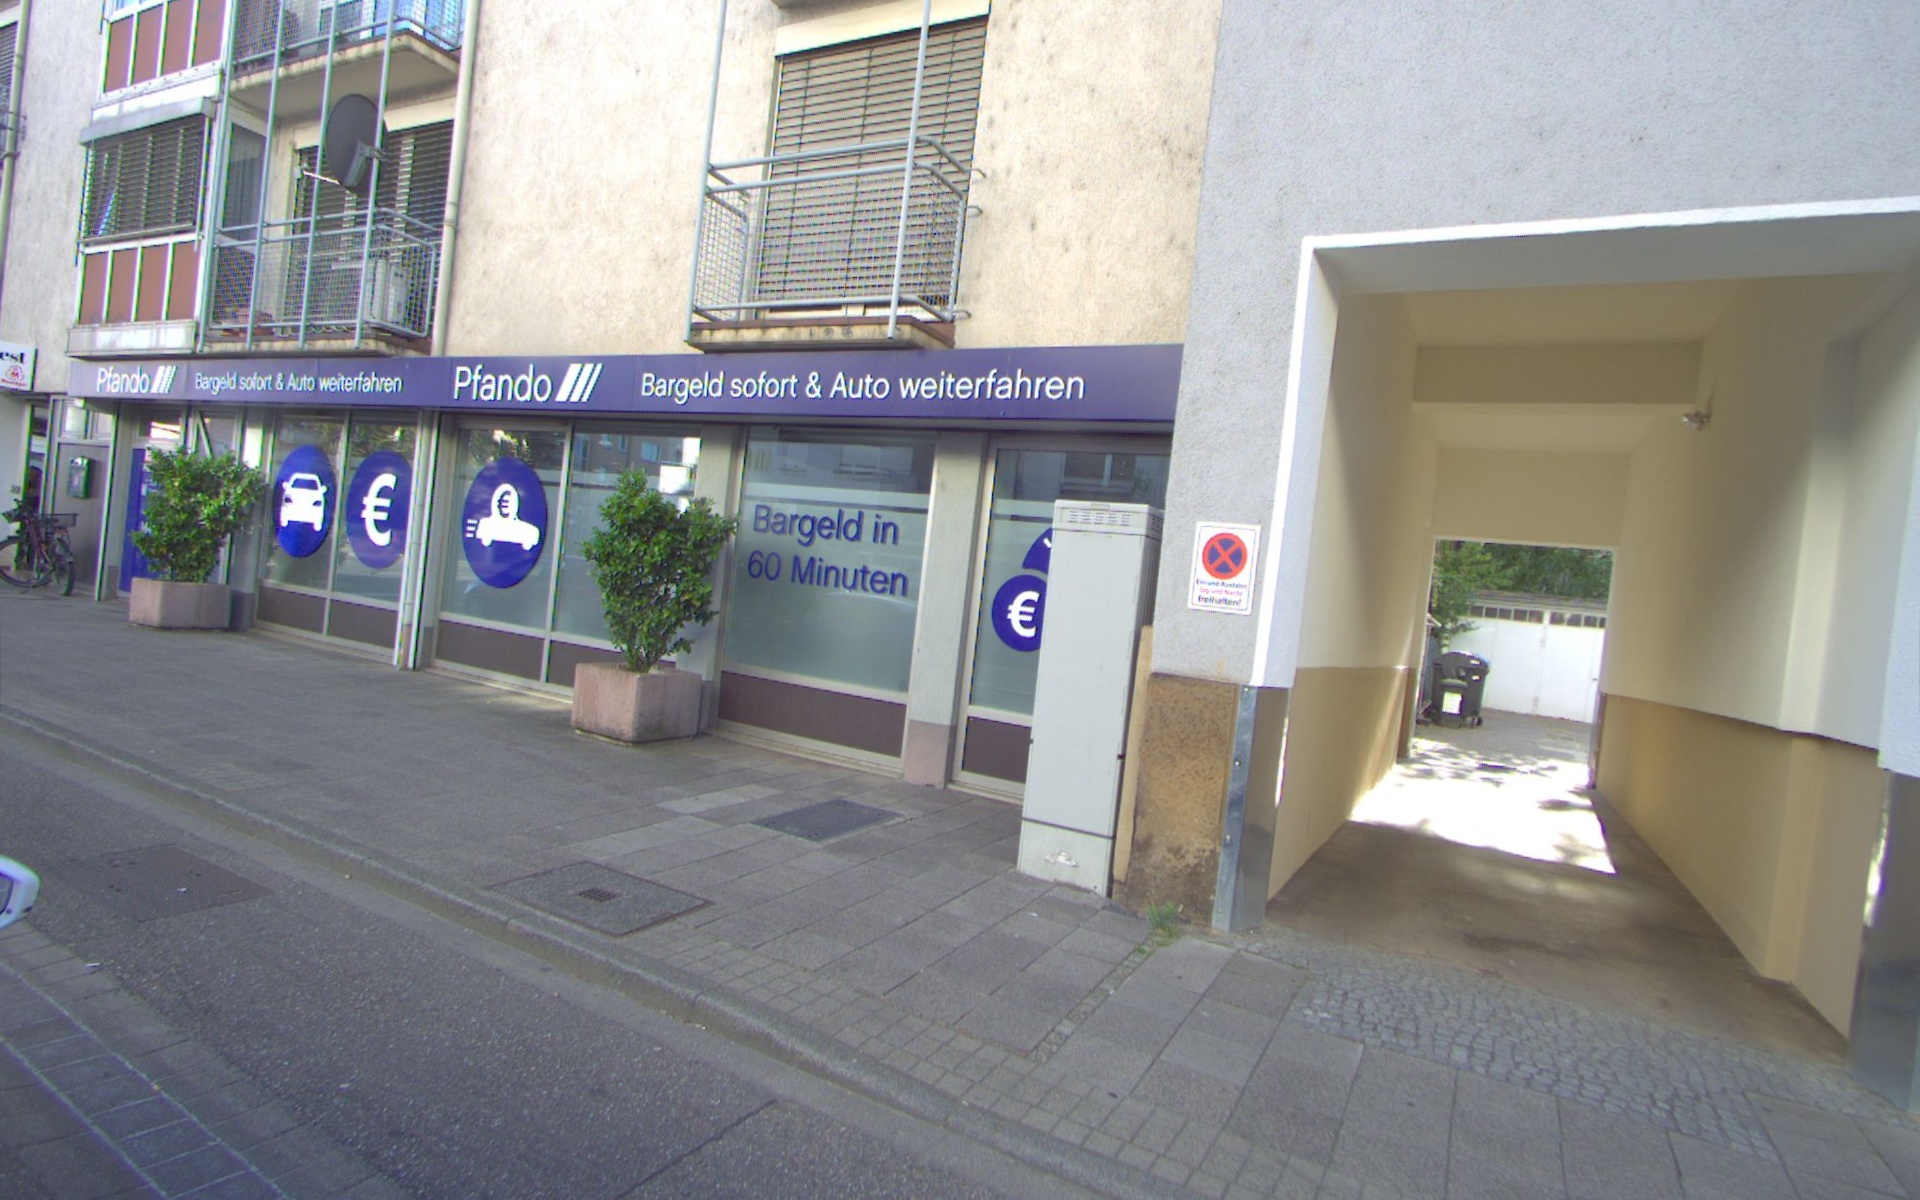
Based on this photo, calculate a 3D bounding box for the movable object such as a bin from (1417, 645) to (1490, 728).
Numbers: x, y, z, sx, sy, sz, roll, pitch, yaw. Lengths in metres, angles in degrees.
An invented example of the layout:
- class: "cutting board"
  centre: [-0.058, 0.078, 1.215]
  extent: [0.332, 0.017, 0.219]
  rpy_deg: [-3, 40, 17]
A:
- class: "movable object such as a bin"
  centre: [10.032, 1.760, 20.418]
  extent: [1.092, 1.511, 1.329]
  rpy_deg: [6, -2, 30]

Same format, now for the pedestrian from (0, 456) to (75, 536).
- class: "pedestrian"
  centre: [-14.217, -1.585, 15.425]
  extent: [0.667, 1.102, 0.624]
  rpy_deg: [7, 2, -5]

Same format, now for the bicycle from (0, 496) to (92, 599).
- class: "bicycle"
  centre: [-11.866, -0.690, 12.871]
  extent: [1.747, 1.176, 0.497]
  rpy_deg: [6, 0, 29]
